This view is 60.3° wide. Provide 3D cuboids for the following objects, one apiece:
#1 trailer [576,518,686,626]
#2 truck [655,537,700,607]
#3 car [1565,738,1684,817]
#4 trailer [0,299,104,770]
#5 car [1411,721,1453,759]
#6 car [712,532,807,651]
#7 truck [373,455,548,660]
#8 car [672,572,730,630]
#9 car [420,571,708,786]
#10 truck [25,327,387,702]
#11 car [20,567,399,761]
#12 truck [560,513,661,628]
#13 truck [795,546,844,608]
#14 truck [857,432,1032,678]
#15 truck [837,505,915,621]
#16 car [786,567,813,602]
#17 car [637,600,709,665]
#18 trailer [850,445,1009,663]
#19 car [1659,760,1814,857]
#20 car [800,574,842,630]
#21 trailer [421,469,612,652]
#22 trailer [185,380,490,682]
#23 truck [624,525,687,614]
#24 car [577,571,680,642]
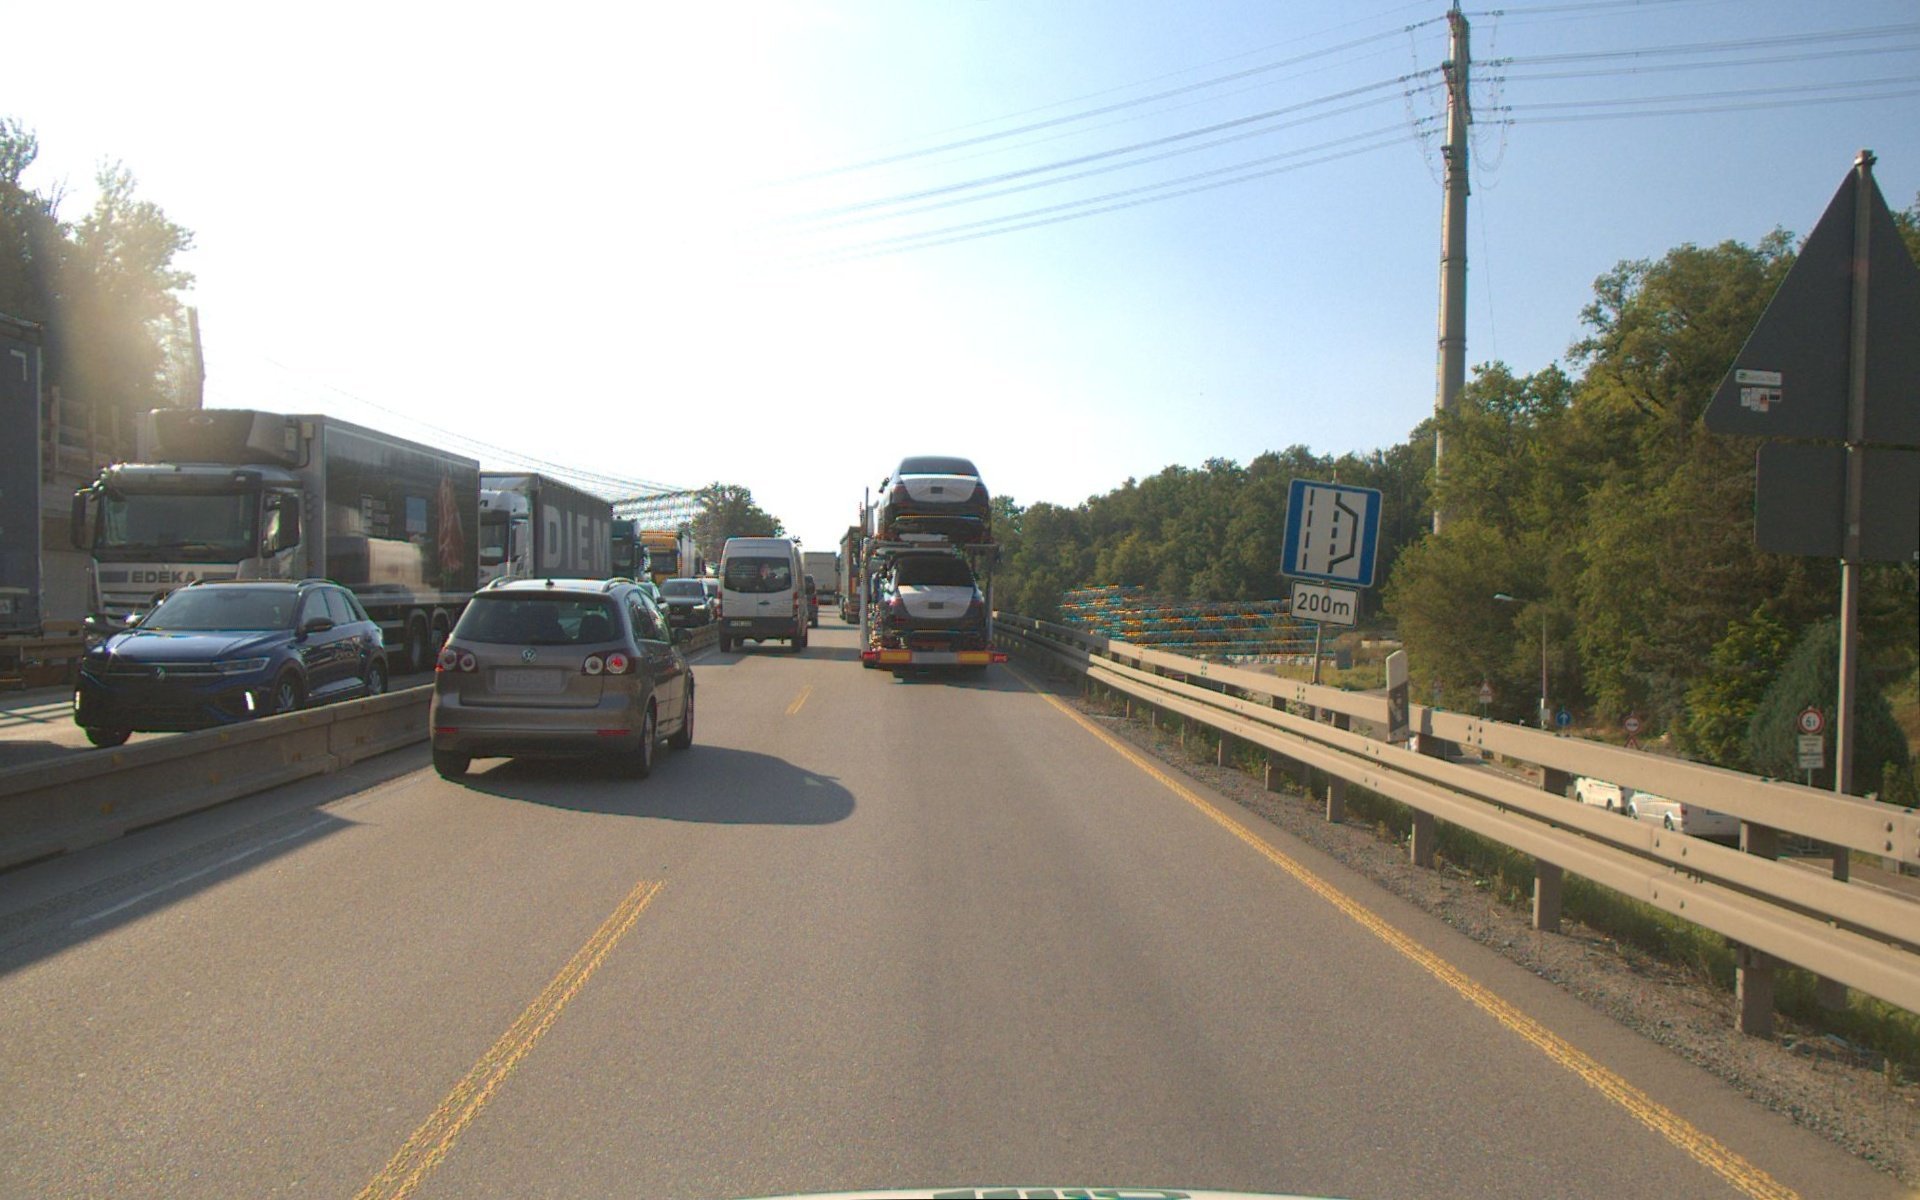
[{"bbox_3d":[-13.250,-1.026,67.968,2.695,3.882,16.029,-1,0,-5],"label":"trailer"},{"bbox_3d":[-17.806,-1.716,104.358,2.643,4.270,4.390,0,-1,-8],"label":"truck"},{"bbox_3d":[19.921,5.279,49.823,1.823,2.021,5.053,0,-2,4],"label":"car"},{"bbox_3d":[-9.914,-0.631,9.955,2.720,4.277,13.827,0,0,-2],"label":"trailer"},{"bbox_3d":[22.770,6.753,79.923,1.493,1.486,4.271,0,0,10],"label":"car"},{"bbox_3d":[-4.781,-0.186,39.904,1.939,2.731,4.145,0,-1,-2],"label":"car"},{"bbox_3d":[-10.919,-0.894,36.629,2.695,4.187,5.025,-1,0,-5],"label":"truck"},{"bbox_3d":[-9.483,0.049,60.774,1.789,1.967,5.123,-2,0,-6],"label":"car"},{"bbox_3d":[-3.291,0.602,14.524,1.666,1.615,4.145,0,0,-2],"label":"car"},{"bbox_3d":[-10.176,-1.041,22.944,2.861,4.593,5.024,1,0,-3],"label":"truck"},{"bbox_3d":[-7.008,0.579,16.032,1.731,1.578,4.477,1,-1,-2],"label":"car"},{"bbox_3d":[-12.504,-1.008,59.763,2.695,3.872,7.104,-1,0,-5],"label":"truck"},{"bbox_3d":[-11.302,-1.915,134.078,3.575,4.758,11.689,0,1,-3],"label":"truck"},{"bbox_3d":[-0.433,-0.724,30.283,2.813,4.049,5.766,0,-1,-5],"label":"truck"},{"bbox_3d":[-3.848,-1.622,73.799,3.164,4.758,11.686,0,1,-4],"label":"truck"},{"bbox_3d":[-9.991,-0.943,103.090,1.498,2.049,3.996,2,-1,-4],"label":"car"},{"bbox_3d":[-9.182,1.039,53.195,1.797,1.998,4.895,0,-1,-4],"label":"car"},{"bbox_3d":[-1.077,-0.805,38.592,2.818,4.064,15.264,0,0,-4],"label":"trailer"},{"bbox_3d":[18.985,5.054,40.679,1.953,1.951,4.866,0,-2,6],"label":"car"},{"bbox_3d":[-5.431,0.099,65.074,1.498,2.049,3.996,2,-1,-4],"label":"car"},{"bbox_3d":[-11.567,-0.929,44.533,2.662,4.194,12.480,-1,0,-5],"label":"trailer"},{"bbox_3d":[-10.467,-1.036,28.710,2.853,4.544,7.148,1,0,-3],"label":"trailer"},{"bbox_3d":[-14.908,-1.437,81.288,2.650,4.213,5.785,0,-1,-7],"label":"truck"},{"bbox_3d":[-8.274,0.154,41.715,1.840,1.633,5.364,-2,0,-4],"label":"car"}]
